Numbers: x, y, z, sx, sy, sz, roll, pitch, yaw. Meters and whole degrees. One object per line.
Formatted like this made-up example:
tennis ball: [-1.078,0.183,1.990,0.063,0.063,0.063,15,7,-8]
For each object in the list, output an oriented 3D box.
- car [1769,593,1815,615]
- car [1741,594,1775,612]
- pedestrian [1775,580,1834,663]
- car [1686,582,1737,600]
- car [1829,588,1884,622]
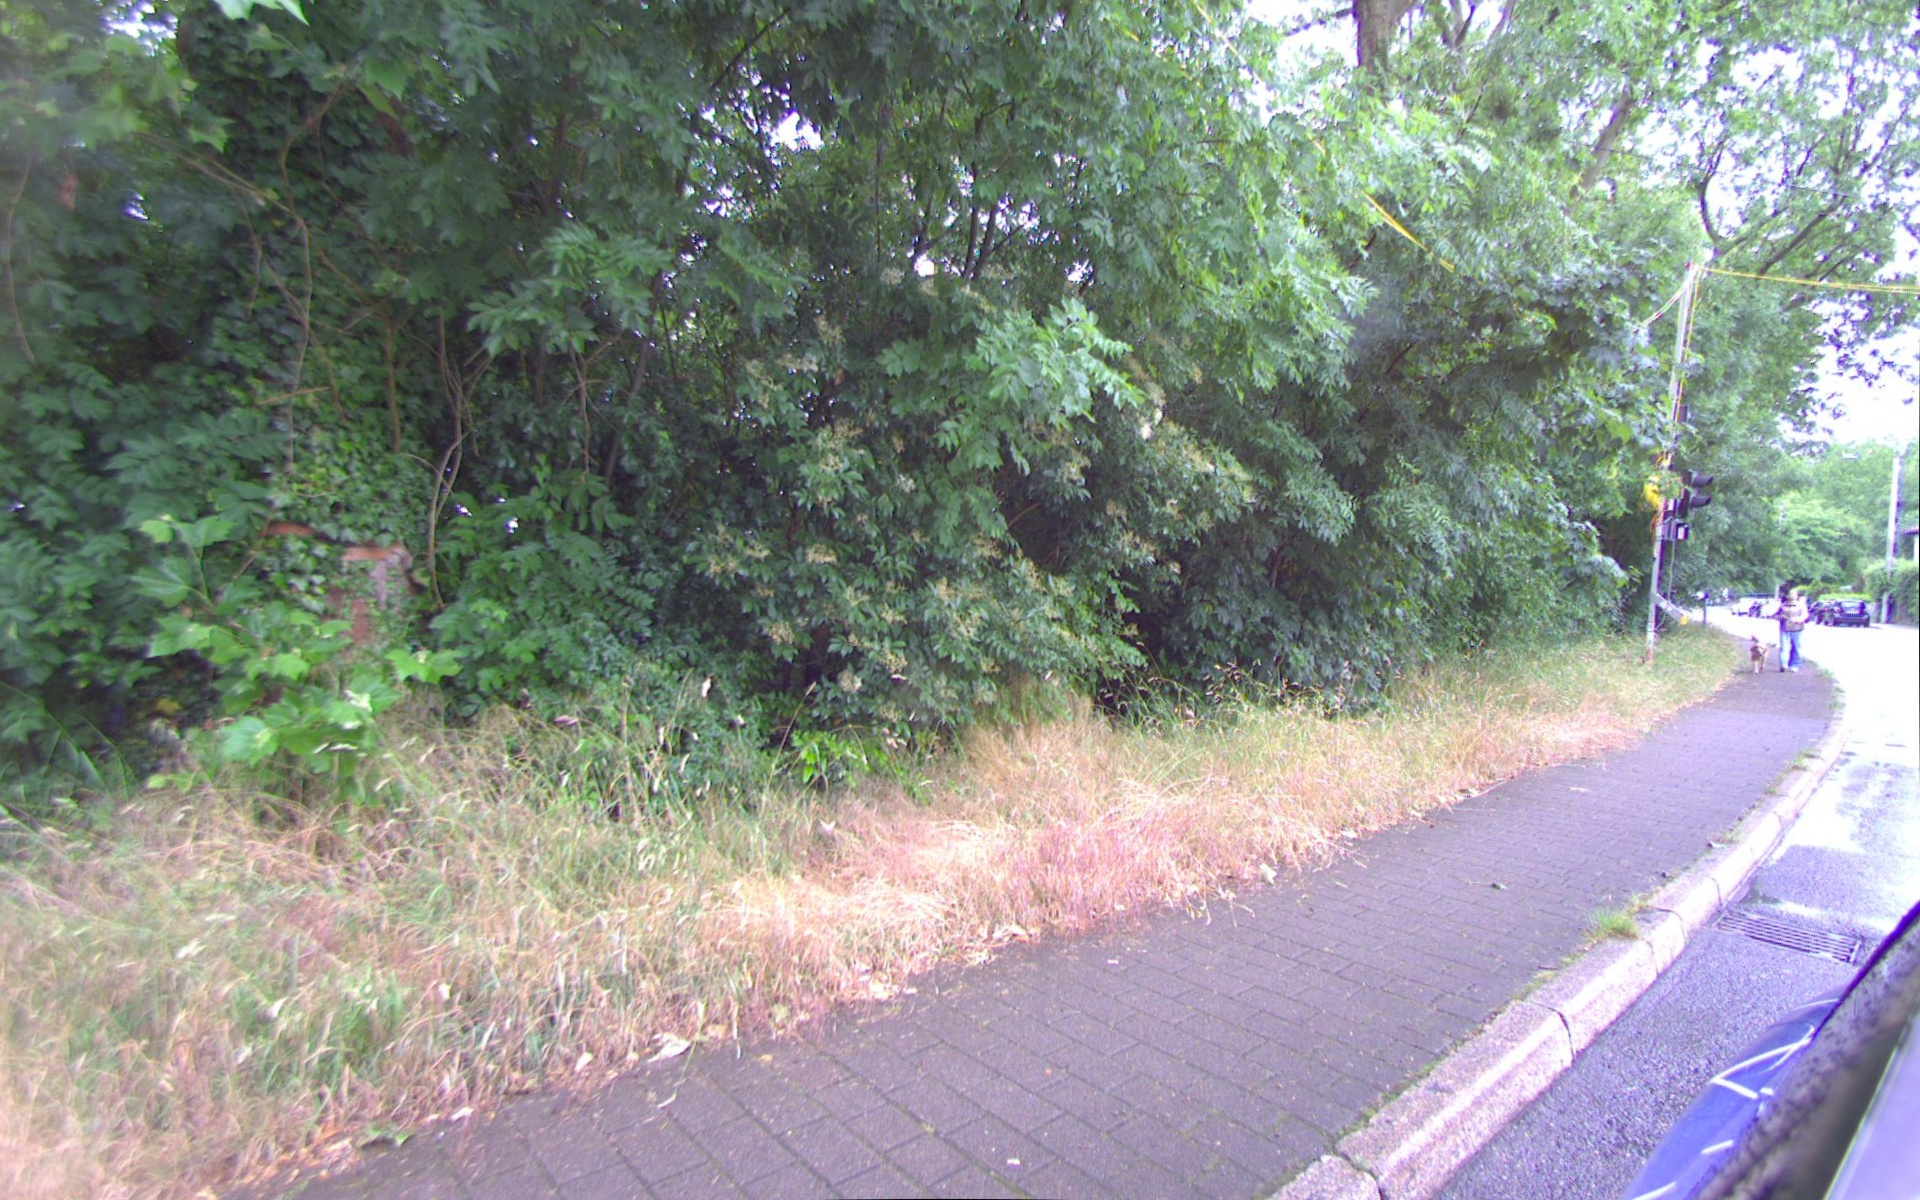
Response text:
car: [60.747,0.290,73.917,2.055,1.504,4.509,1,1,33]
car: [64.941,0.212,82.369,1.676,1.445,3.734,1,1,31]
pedestrian: [15.942,0.398,19.097,0.771,1.518,0.734,0,-1,-42]
car: [76.951,-0.922,103.674,4.525,1.805,2.004,0,0,-20]
car: [51.059,0.276,57.704,1.869,1.848,4.075,1,1,35]
